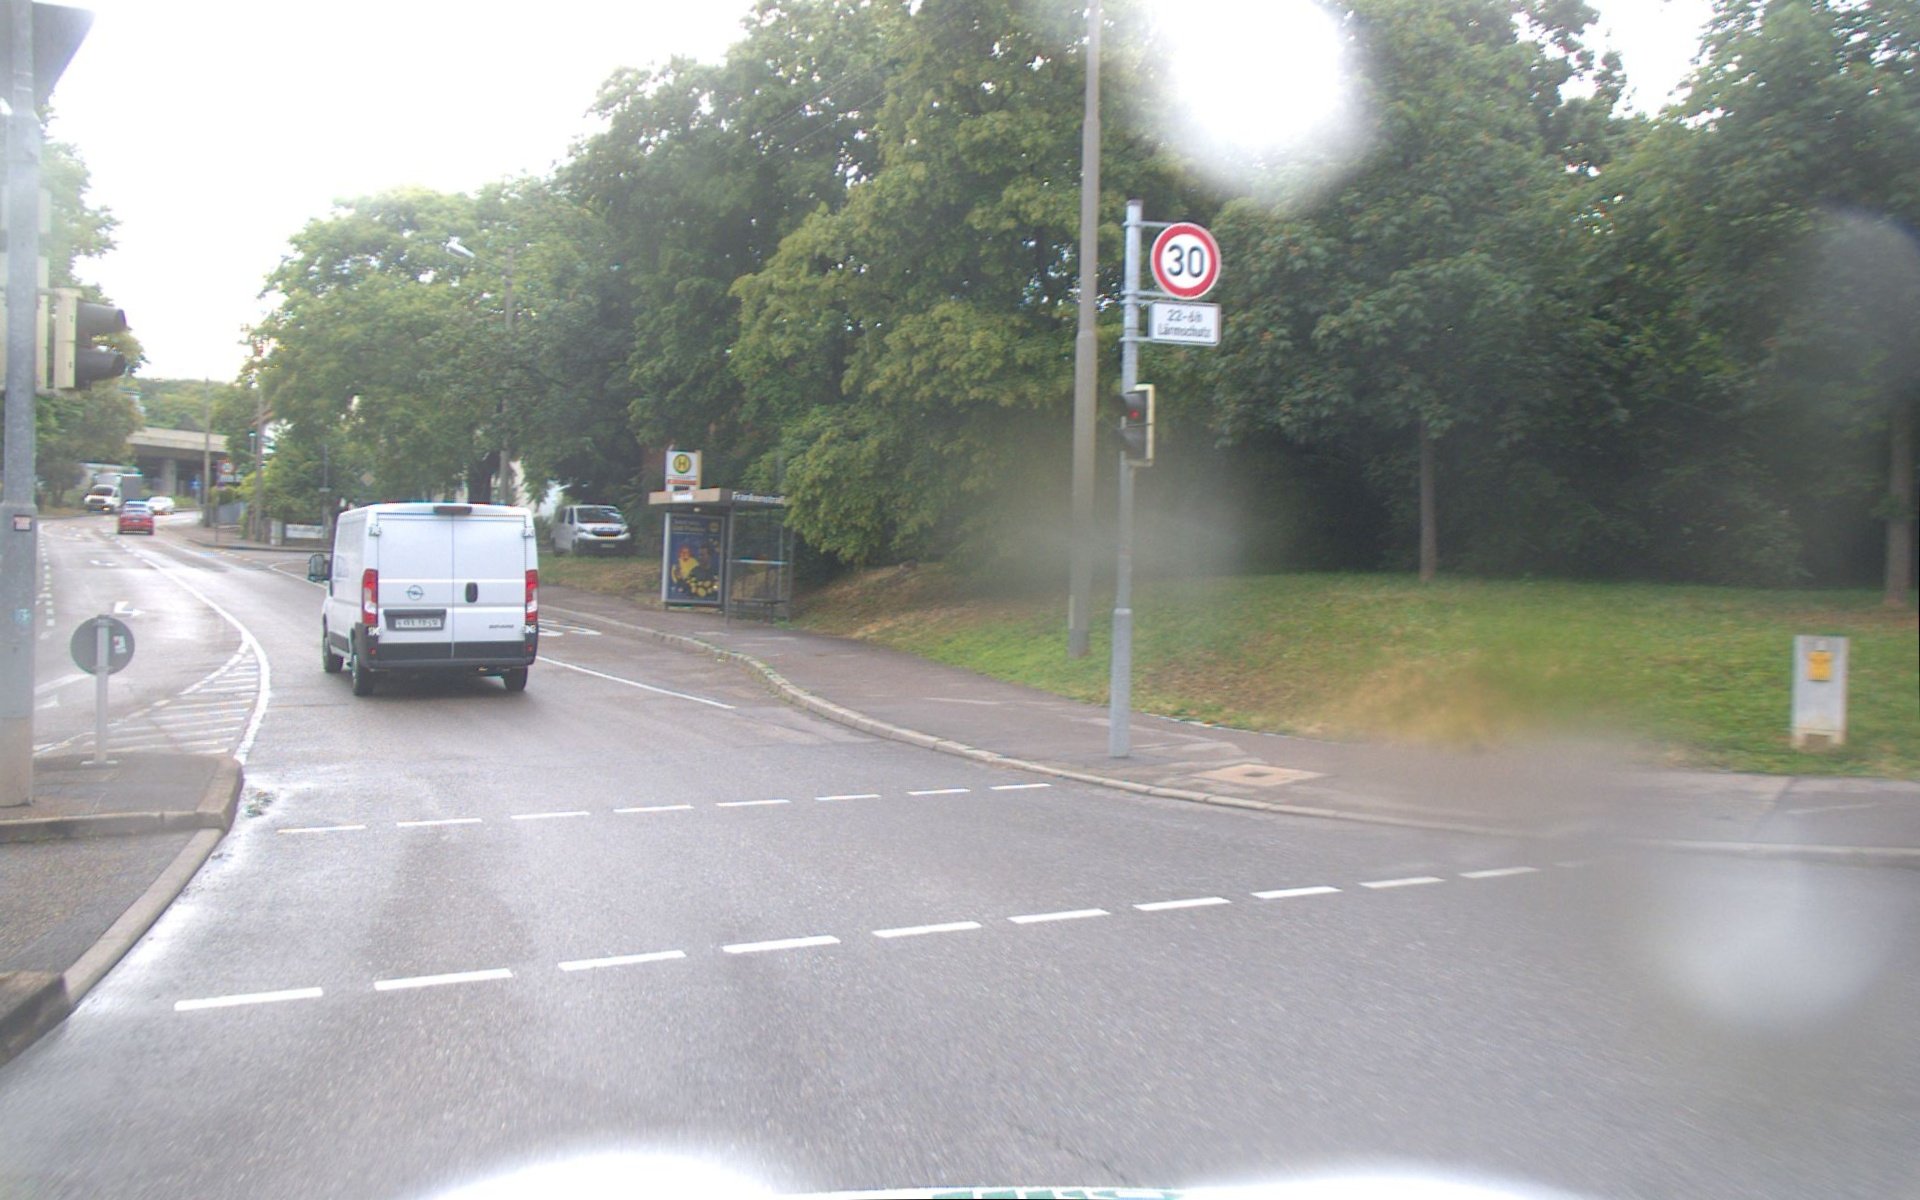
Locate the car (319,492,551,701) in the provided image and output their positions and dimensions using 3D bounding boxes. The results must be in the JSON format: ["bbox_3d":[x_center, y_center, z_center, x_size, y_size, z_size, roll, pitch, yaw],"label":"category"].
[{"bbox_3d":[-6.829,-0.123,21.127,2.120,2.323,5.021,-1,2,-26],"label":"car"}]

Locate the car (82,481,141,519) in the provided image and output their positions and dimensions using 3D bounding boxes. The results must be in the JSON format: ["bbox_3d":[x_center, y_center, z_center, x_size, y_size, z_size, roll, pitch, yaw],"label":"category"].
[{"bbox_3d":[-72.896,-8.563,142.247,2.488,3.070,7.195,2,3,-10],"label":"car"}]

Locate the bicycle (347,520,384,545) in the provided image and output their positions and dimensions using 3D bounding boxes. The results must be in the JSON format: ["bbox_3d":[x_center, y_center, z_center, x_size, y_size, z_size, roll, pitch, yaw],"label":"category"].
[{"bbox_3d":[-26.848,-3.052,74.716,1.551,1.134,0.454,-1,4,-26],"label":"bicycle"}]

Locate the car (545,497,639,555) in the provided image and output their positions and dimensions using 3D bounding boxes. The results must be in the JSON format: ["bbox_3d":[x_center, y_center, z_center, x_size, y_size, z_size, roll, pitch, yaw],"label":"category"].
[{"bbox_3d":[-12.858,-2.589,57.494,1.970,1.836,5.104,2,2,-27],"label":"car"}]

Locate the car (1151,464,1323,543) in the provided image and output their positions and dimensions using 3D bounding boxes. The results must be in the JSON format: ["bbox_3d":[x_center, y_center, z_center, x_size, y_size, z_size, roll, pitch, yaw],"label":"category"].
[{"bbox_3d":[7.561,-2.640,45.296,4.235,1.809,1.799,-5,3,-9],"label":"car"}]

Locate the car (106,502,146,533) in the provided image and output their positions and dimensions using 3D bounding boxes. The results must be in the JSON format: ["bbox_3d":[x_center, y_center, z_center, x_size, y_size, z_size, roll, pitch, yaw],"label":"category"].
[{"bbox_3d":[-46.093,-4.573,91.349,1.816,1.560,4.164,1,3,-29],"label":"car"}]

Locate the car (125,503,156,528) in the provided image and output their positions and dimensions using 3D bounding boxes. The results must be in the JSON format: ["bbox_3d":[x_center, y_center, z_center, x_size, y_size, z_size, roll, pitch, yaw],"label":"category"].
[{"bbox_3d":[-54.580,-5.663,110.129,1.743,1.536,3.726,1,3,-25],"label":"car"}]
